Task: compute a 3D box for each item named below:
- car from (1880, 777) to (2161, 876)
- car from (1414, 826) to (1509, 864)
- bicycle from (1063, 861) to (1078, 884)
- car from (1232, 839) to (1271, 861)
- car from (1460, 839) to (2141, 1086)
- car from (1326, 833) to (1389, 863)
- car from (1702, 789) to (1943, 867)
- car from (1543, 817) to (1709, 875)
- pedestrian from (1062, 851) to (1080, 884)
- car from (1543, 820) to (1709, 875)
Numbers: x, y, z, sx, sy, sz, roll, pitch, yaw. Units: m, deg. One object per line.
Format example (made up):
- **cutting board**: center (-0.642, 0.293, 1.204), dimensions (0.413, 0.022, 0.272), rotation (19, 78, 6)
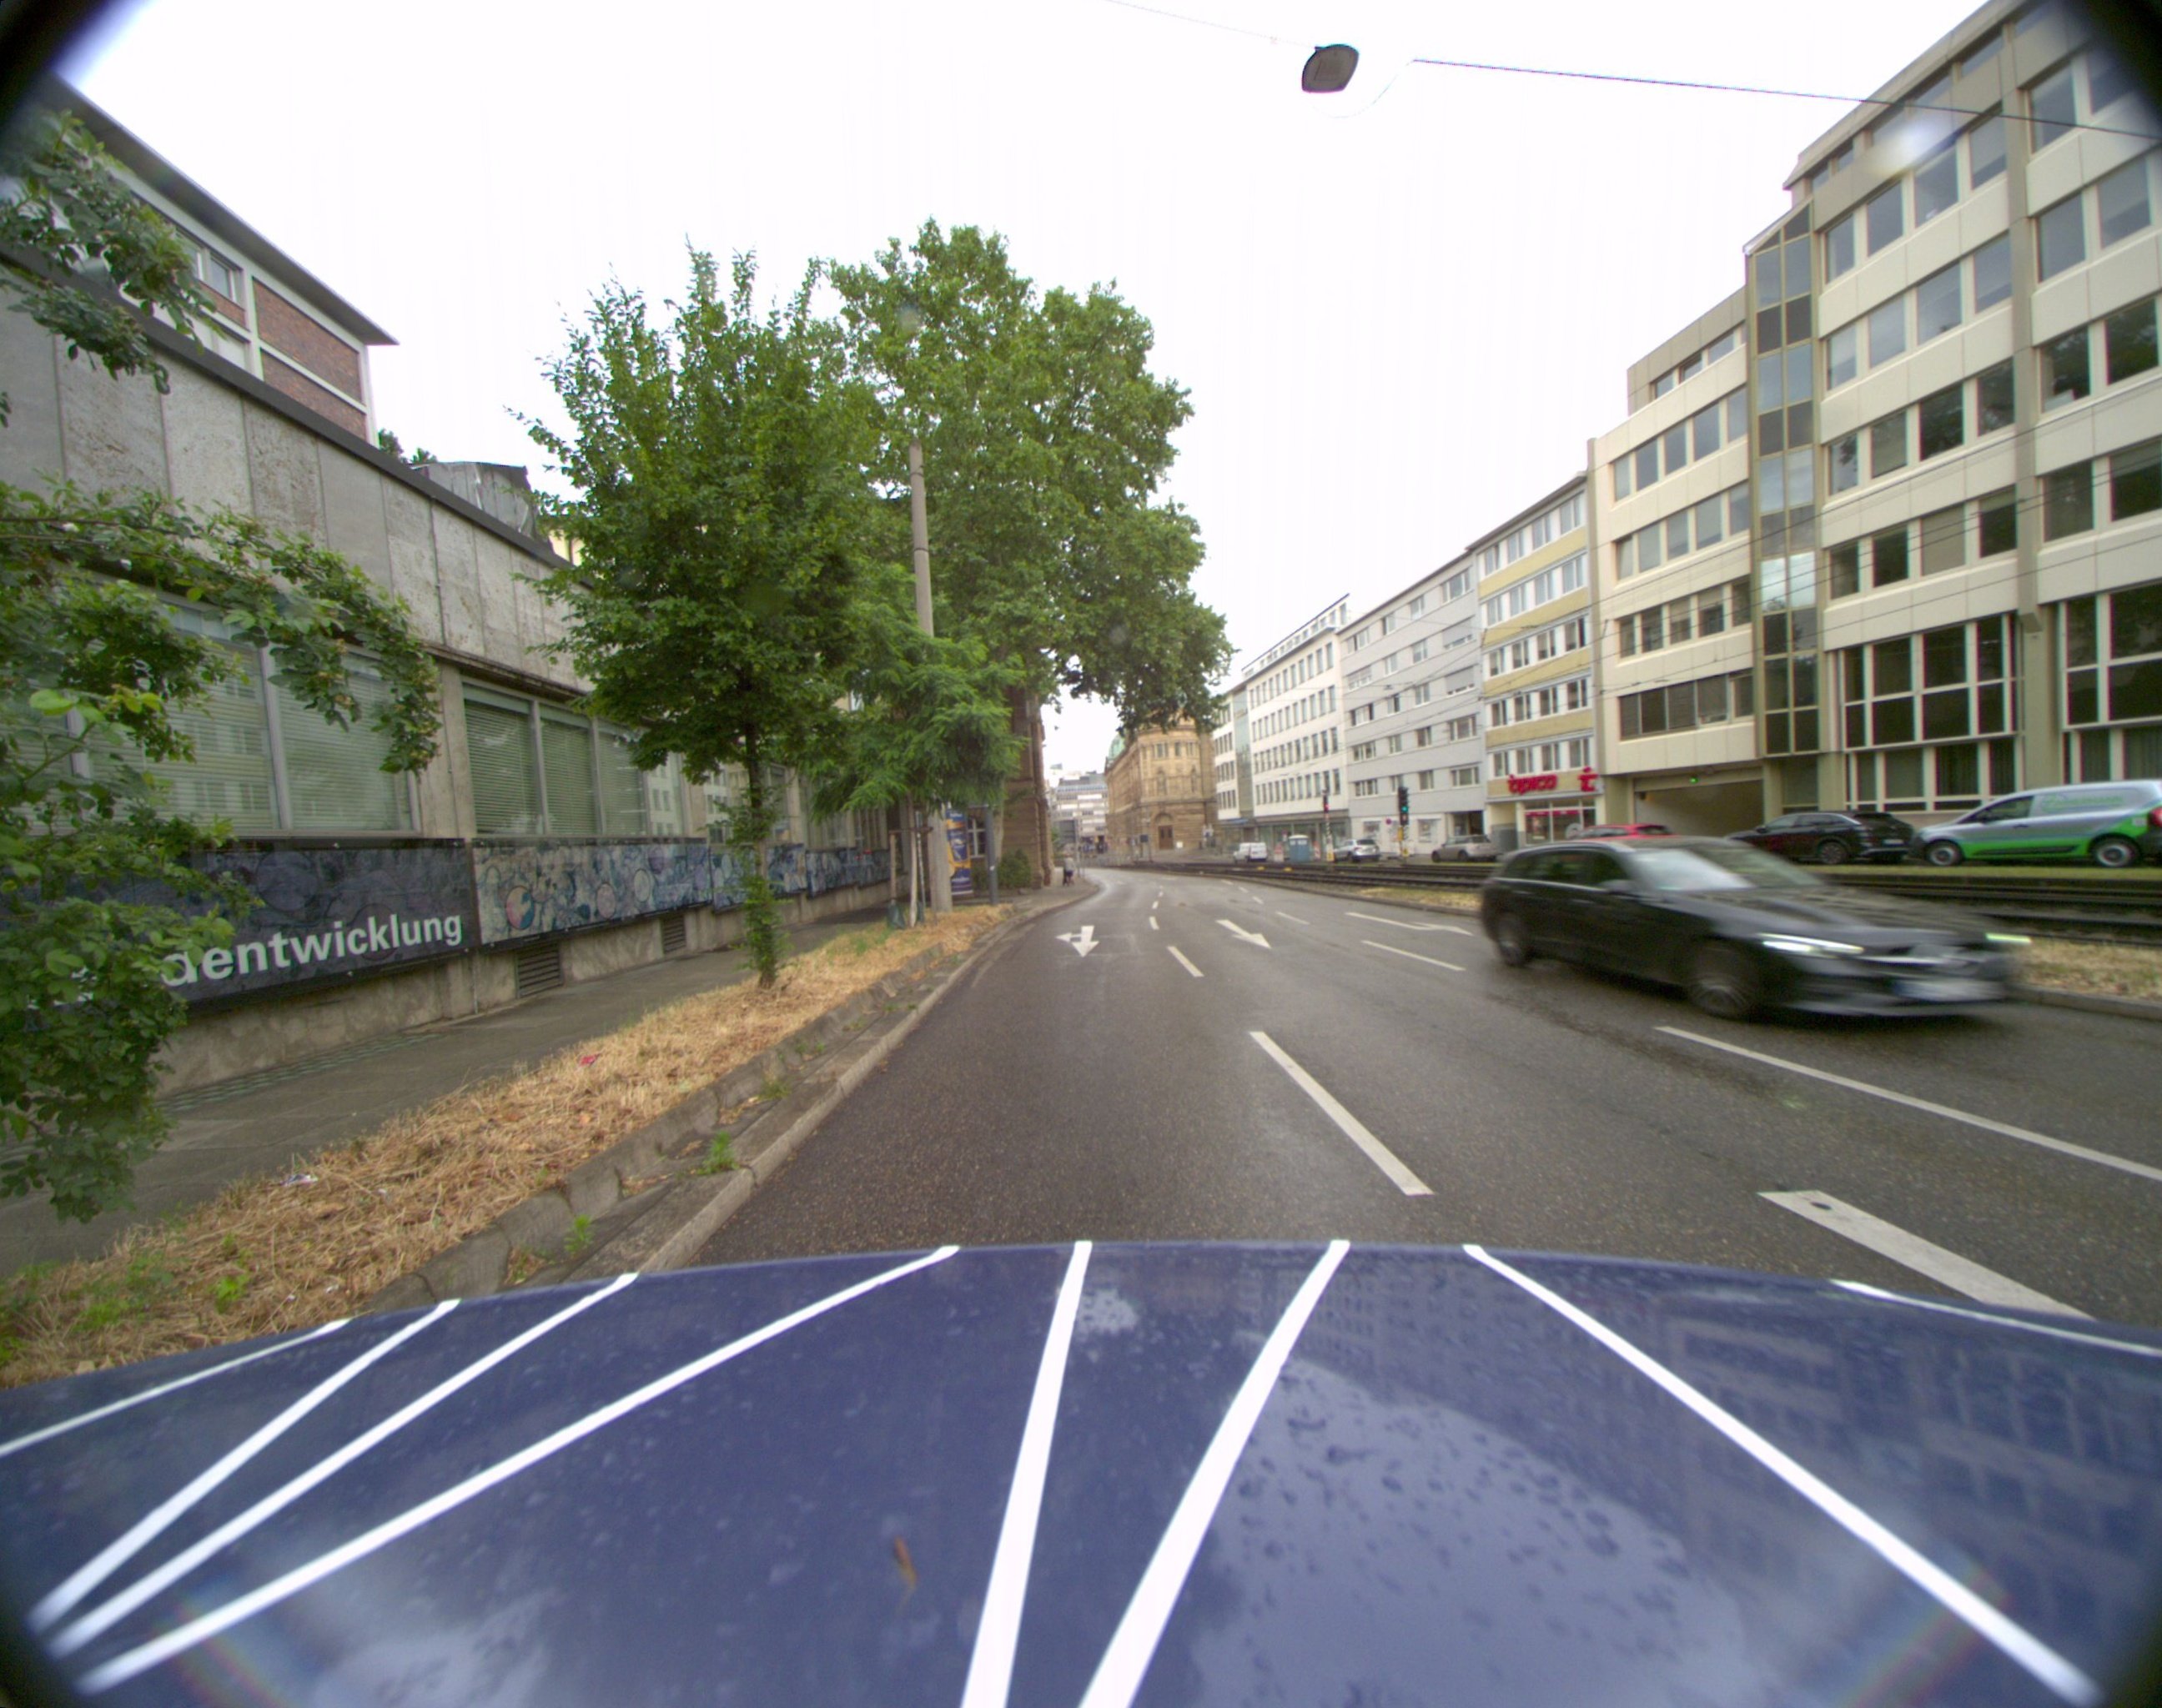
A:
- **car**: center (21.512, -0.619, 17.006), dimensions (1.999, 1.840, 4.691), rotation (-6, 2, -7)
- **car**: center (19.454, -0.489, 39.142), dimensions (1.999, 1.664, 4.691), rotation (-6, 2, -7)
- **bicycle**: center (-0.563, 1.035, 42.572), dimensions (0.620, 1.213, 0.911), rotation (-2, 1, 12)
- **car**: center (16.385, -0.430, 73.341), dimensions (1.999, 1.832, 5.127), rotation (-6, 2, -7)
- **car**: center (5.889, 0.712, 7.302), dimensions (1.999, 1.458, 4.642), rotation (-5, 0, -1)
- **car**: center (18.330, -0.354, 50.611), dimensions (1.999, 1.664, 4.694), rotation (-6, 0, -4)
- **car**: center (21.094, -0.708, 21.968), dimensions (1.999, 1.840, 4.691), rotation (-6, 2, -7)
- **car**: center (17.887, -0.280, 25.257), dimensions (1.986, 1.631, 4.413), rotation (-5, 1, -6)
- **pedestrian**: center (-0.552, 0.721, 41.538), dimensions (0.719, 1.732, 1.020), rotation (-1, 1, 11)
- **car**: center (17.837, -0.238, 25.177), dimensions (1.999, 1.479, 4.323), rotation (-6, 2, -7)
